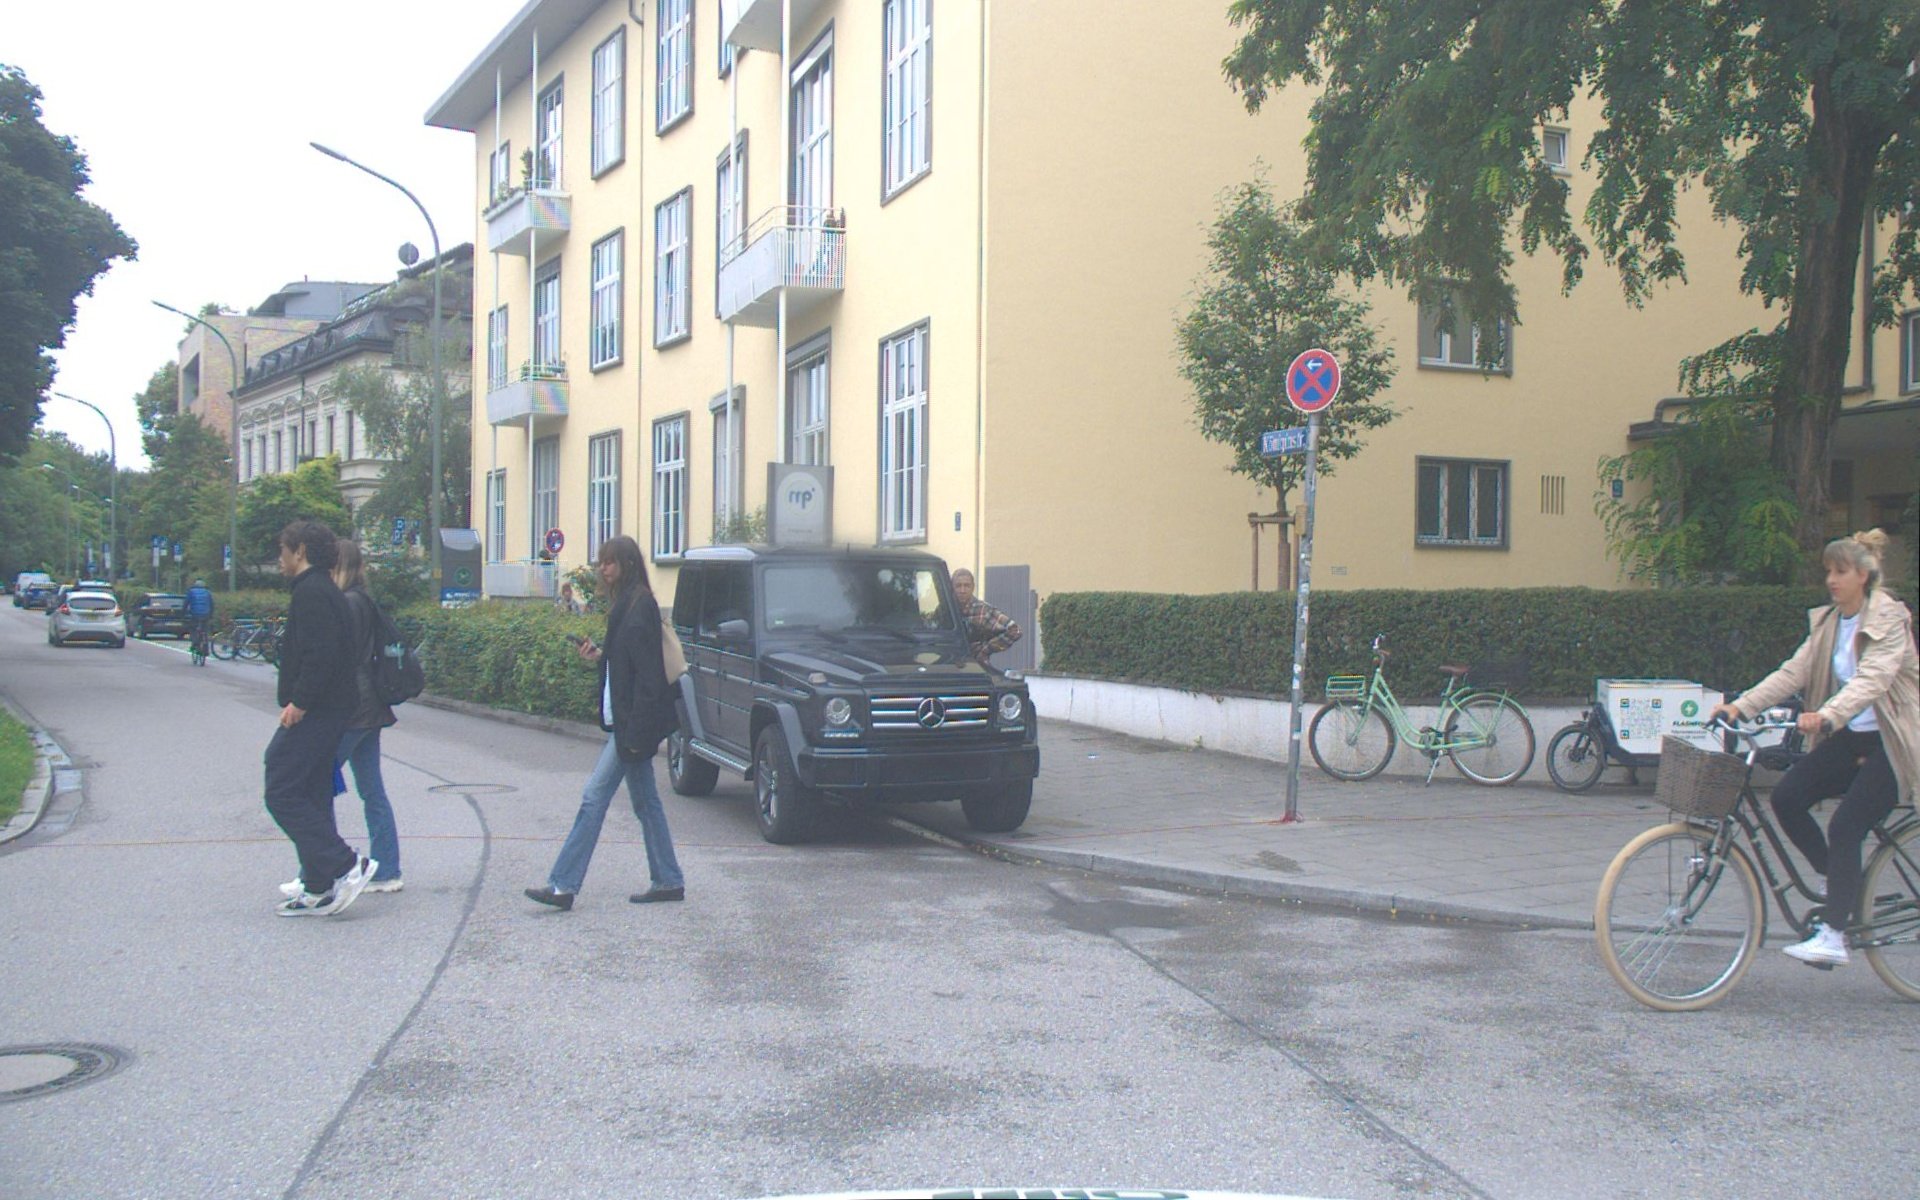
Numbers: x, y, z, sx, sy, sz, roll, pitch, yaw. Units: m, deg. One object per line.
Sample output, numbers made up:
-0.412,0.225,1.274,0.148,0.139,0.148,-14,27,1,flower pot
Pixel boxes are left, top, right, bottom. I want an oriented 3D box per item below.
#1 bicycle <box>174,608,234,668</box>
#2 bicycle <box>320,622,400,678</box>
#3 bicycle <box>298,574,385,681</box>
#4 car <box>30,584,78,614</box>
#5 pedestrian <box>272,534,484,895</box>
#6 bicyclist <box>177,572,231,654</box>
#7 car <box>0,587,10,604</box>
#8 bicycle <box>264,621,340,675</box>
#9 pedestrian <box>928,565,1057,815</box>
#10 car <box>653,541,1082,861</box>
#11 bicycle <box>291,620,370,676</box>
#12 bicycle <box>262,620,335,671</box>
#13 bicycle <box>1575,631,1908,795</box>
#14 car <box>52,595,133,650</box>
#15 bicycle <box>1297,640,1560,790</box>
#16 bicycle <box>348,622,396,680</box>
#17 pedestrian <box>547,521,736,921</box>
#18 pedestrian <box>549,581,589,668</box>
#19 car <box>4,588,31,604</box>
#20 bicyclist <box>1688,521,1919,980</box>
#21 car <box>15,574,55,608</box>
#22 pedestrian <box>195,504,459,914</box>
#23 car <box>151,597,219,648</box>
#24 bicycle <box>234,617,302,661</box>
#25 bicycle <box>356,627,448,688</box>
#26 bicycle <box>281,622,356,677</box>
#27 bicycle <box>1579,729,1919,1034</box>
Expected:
-16.854,0.821,36.854,0.912,1.274,2.295,0,0,-33,bicycle
-11.703,0.969,32.307,0.360,1.032,1.532,-1,1,36,bicycle
-12.148,0.516,32.515,0.447,2.049,1.673,-1,1,31,bicycle
-50.262,-0.057,91.708,1.976,1.628,4.204,0,0,-34,car
-2.979,0.560,8.530,0.809,1.776,0.741,0,0,3,pedestrian
-16.847,0.286,36.846,0.906,1.795,1.201,0,0,-34,bicyclist
-90.096,-0.436,154.456,1.968,1.628,4.433,0,0,-24,car
-13.373,0.969,33.639,0.400,1.032,1.536,-1,1,27,bicycle
0.226,0.639,12.360,0.832,1.788,0.952,0,0,-7,pedestrian
-0.921,0.590,12.424,1.848,1.920,4.587,0,0,-22,car
-12.558,0.946,33.025,0.400,1.032,1.534,-1,1,31,bicycle
-14.111,0.964,35.310,0.400,1.032,1.536,-1,1,27,bicycle
5.692,0.808,12.142,2.121,1.135,0.641,0,0,7,bicycle
-23.712,0.569,45.142,1.730,1.431,3.687,0,0,-31,car
3.679,0.890,13.075,1.909,1.104,0.527,-2,-2,34,bicycle
-11.120,0.950,31.321,0.358,1.032,1.537,-1,1,-1,bicycle
-1.618,0.569,8.329,0.837,1.890,0.763,-1,0,-17,pedestrian
-7.866,0.485,33.246,0.623,1.713,0.692,-1,0,-26,pedestrian
-95.858,-0.406,168.326,1.968,1.628,4.433,0,0,-24,car
3.495,0.549,6.459,0.984,1.685,0.695,0,0,-6,bicyclist
-55.574,-0.541,99.306,2.044,2.000,4.927,0,0,-30,car
-2.955,0.491,7.786,0.969,1.841,0.660,0,0,4,pedestrian
-24.953,0.689,53.197,1.630,1.585,3.521,0,0,-31,car
-17.061,0.953,40.780,0.402,1.032,1.529,0,1,40,bicycle
-10.030,1.021,29.739,1.520,1.032,0.363,-1,1,-35,bicycle
-12.942,0.993,33.399,0.400,1.032,1.536,-1,1,27,bicycle
3.496,1.059,6.466,1.922,1.042,0.684,0,0,-6,bicycle
